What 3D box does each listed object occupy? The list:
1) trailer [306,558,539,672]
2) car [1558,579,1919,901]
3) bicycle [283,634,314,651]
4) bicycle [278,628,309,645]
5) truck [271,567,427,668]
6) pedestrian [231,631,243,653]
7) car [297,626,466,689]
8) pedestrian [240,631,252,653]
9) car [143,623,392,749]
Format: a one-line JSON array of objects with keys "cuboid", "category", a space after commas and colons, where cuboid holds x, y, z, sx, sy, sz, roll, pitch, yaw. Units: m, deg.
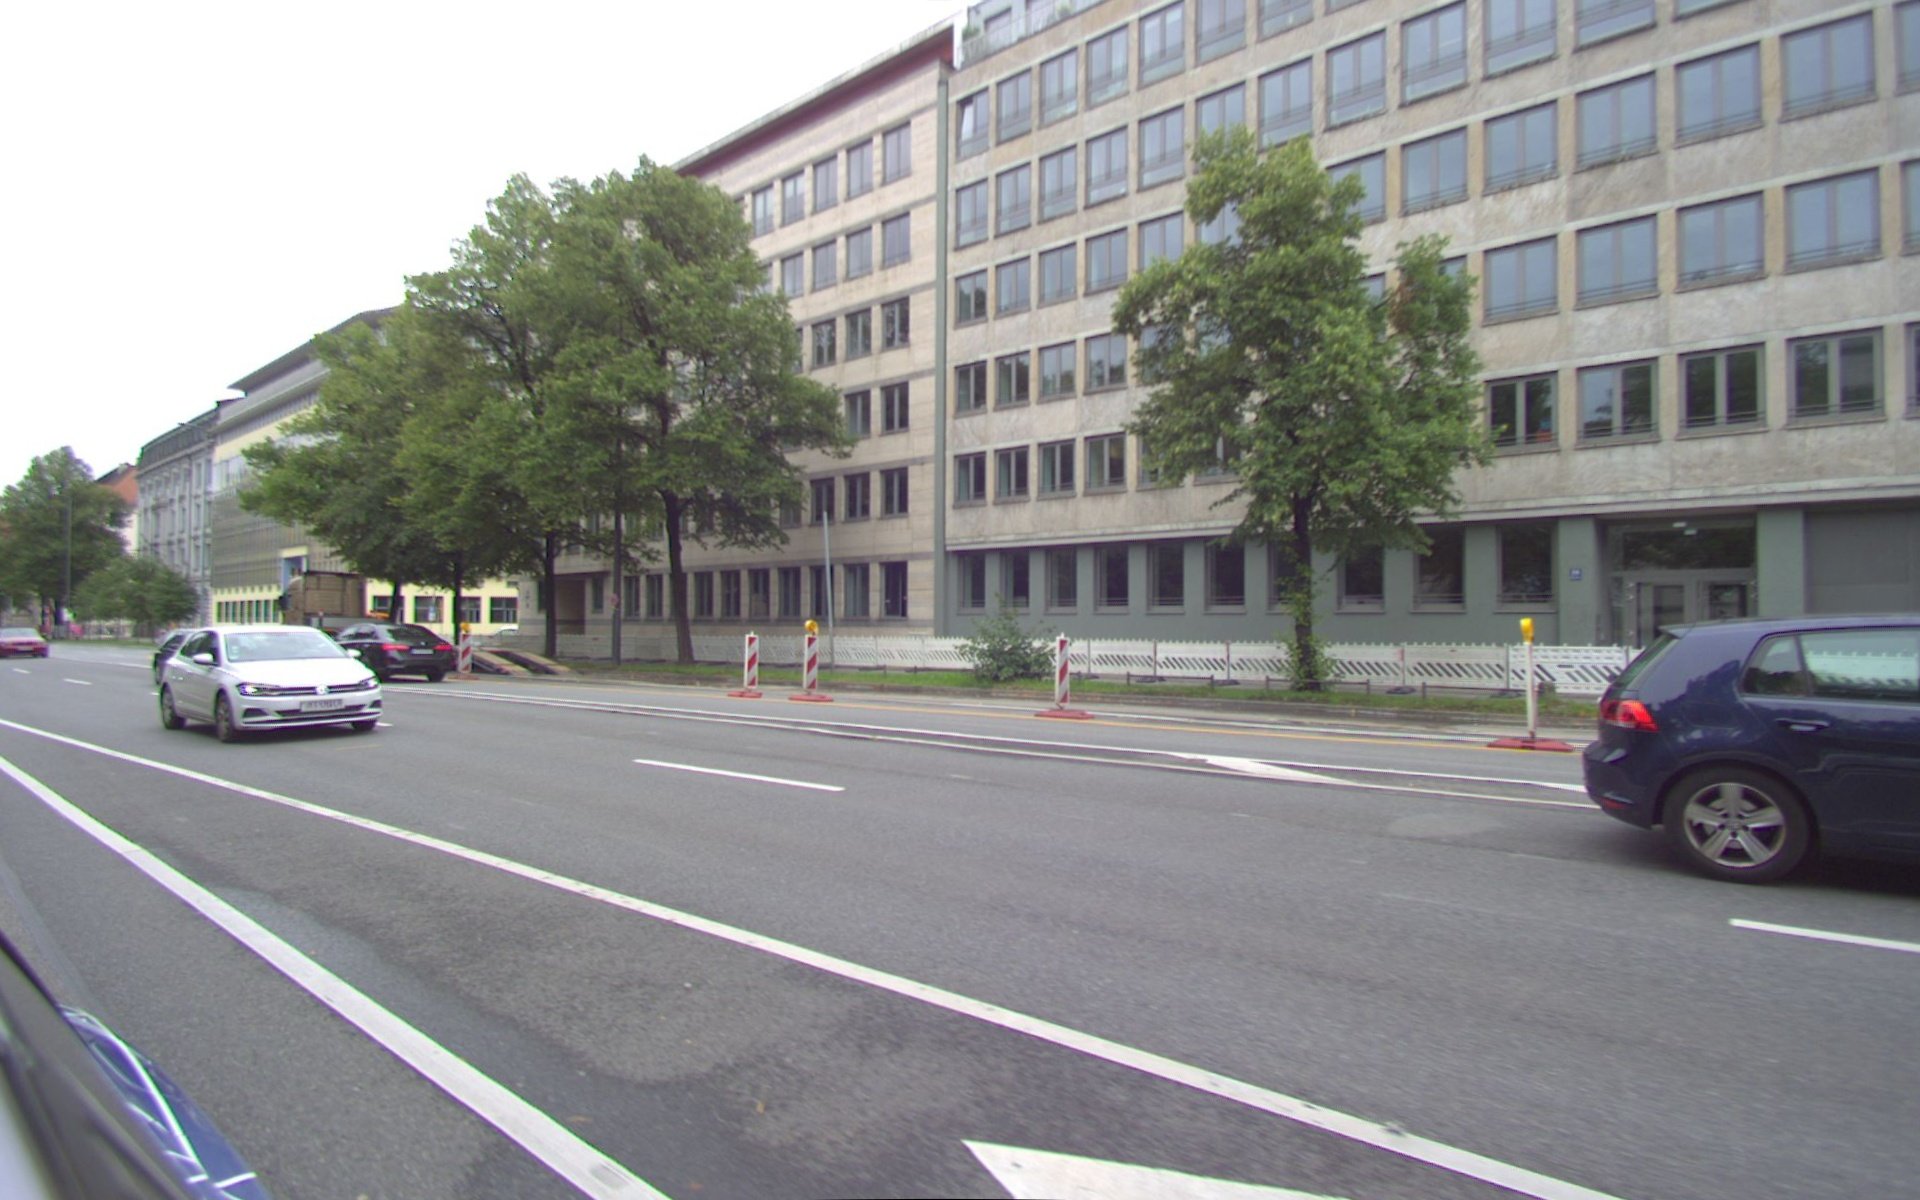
[{"cuboid": [-20.494, 0.617, 38.065, 11.747, 3.768, 2.923, -1, -1, 36], "category": "trailer"}, {"cuboid": [5.612, 0.669, 5.019, 4.336, 1.528, 1.674, -1, -2, 40], "category": "car"}, {"cuboid": [-53.443, 3.407, 81.773, 0.573, 1.328, 1.990, -2, -1, 35], "category": "bicycle"}, {"cuboid": [-54.160, 2.940, 82.245, 0.637, 1.328, 1.990, -2, -1, 35], "category": "bicycle"}, {"cuboid": [-25.177, 0.730, 41.568, 7.653, 3.803, 2.889, -1, -1, 37], "category": "truck"}, {"cuboid": [-59.181, 3.443, 82.854, 0.835, 1.790, 0.609, -2, -1, 42], "category": "pedestrian"}, {"cuboid": [-14.944, 1.405, 26.025, 5.207, 1.476, 1.859, -1, -2, 37], "category": "car"}, {"cuboid": [-58.776, 3.422, 83.336, 0.835, 1.790, 0.609, -2, -1, 42], "category": "pedestrian"}, {"cuboid": [-9.553, 1.052, 13.828, 4.273, 1.458, 1.774, -1, -2, 41], "category": "car"}]
